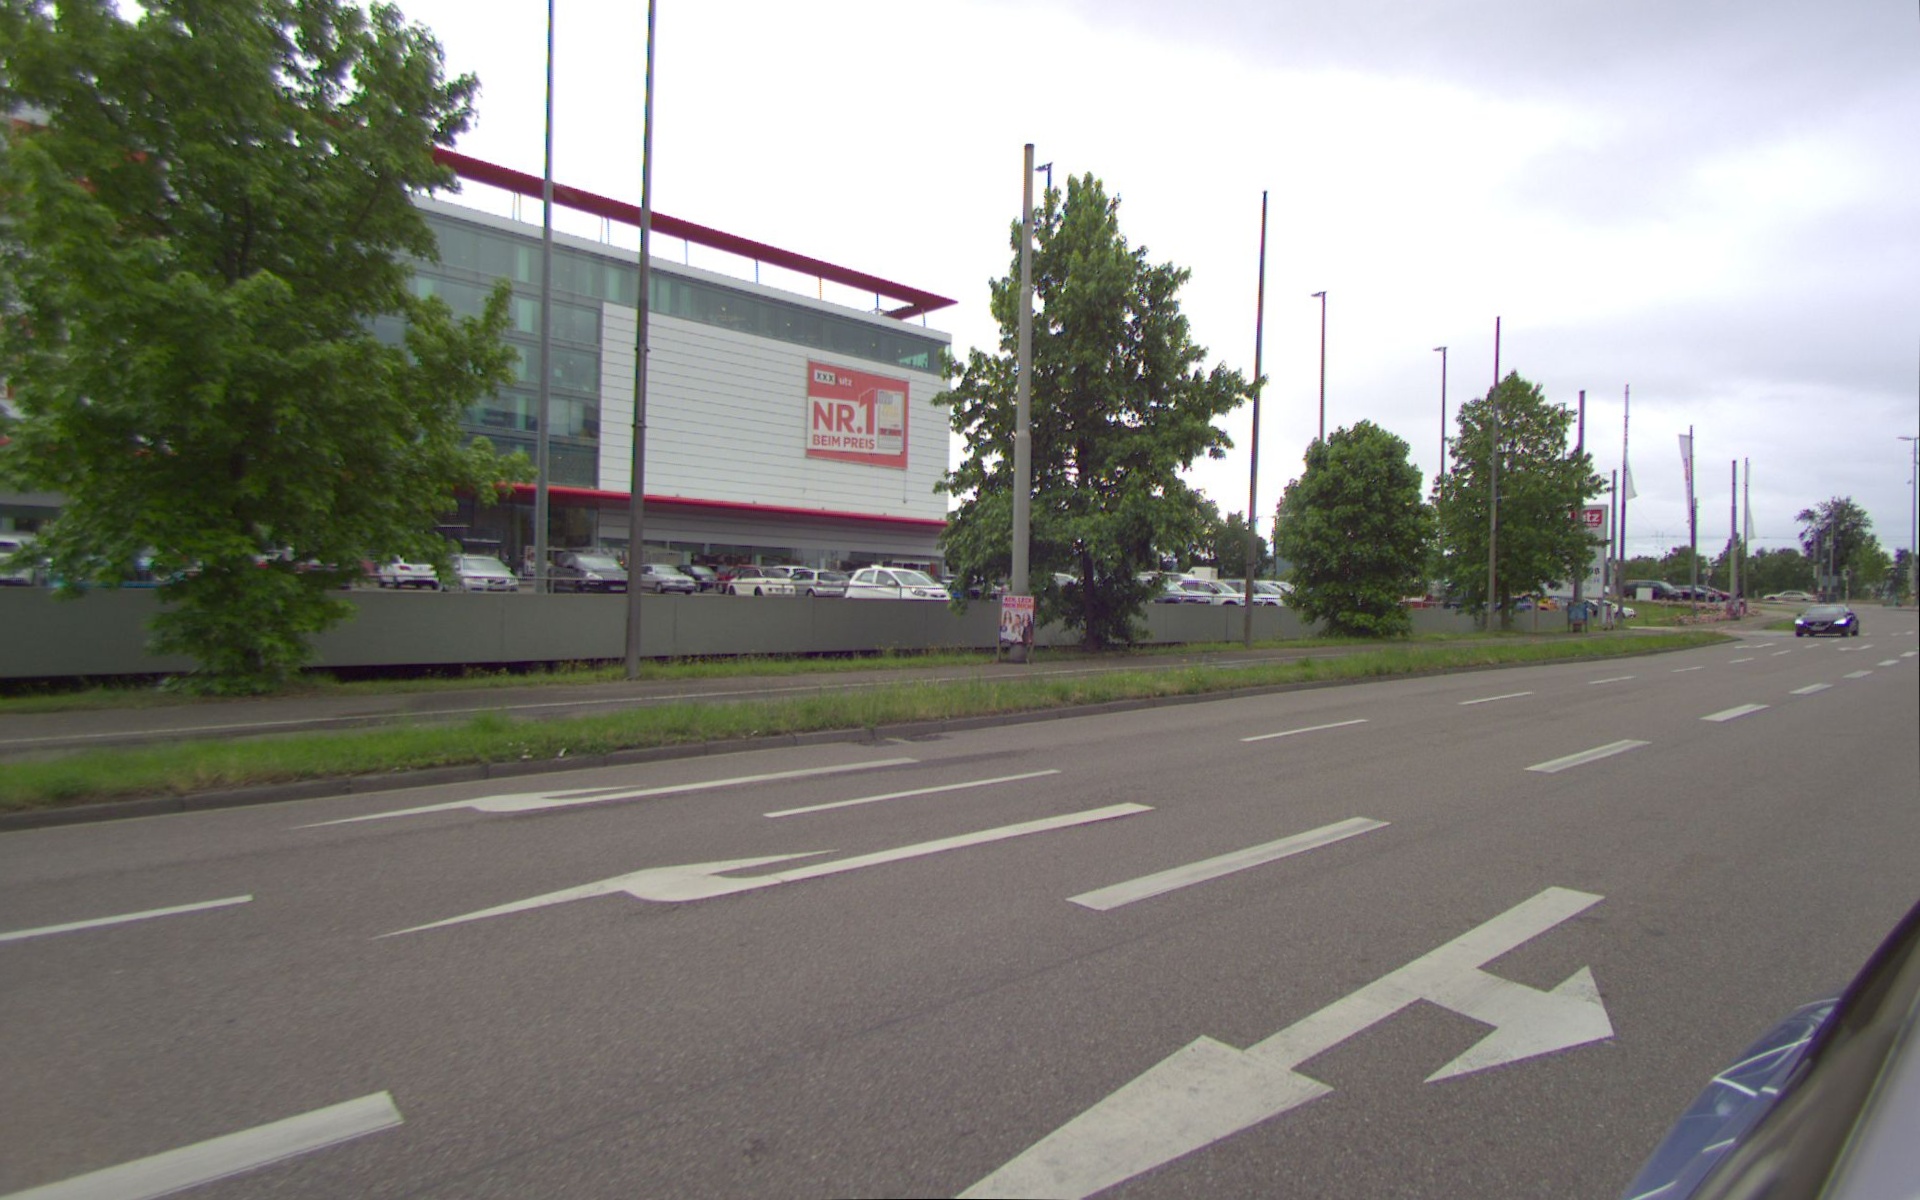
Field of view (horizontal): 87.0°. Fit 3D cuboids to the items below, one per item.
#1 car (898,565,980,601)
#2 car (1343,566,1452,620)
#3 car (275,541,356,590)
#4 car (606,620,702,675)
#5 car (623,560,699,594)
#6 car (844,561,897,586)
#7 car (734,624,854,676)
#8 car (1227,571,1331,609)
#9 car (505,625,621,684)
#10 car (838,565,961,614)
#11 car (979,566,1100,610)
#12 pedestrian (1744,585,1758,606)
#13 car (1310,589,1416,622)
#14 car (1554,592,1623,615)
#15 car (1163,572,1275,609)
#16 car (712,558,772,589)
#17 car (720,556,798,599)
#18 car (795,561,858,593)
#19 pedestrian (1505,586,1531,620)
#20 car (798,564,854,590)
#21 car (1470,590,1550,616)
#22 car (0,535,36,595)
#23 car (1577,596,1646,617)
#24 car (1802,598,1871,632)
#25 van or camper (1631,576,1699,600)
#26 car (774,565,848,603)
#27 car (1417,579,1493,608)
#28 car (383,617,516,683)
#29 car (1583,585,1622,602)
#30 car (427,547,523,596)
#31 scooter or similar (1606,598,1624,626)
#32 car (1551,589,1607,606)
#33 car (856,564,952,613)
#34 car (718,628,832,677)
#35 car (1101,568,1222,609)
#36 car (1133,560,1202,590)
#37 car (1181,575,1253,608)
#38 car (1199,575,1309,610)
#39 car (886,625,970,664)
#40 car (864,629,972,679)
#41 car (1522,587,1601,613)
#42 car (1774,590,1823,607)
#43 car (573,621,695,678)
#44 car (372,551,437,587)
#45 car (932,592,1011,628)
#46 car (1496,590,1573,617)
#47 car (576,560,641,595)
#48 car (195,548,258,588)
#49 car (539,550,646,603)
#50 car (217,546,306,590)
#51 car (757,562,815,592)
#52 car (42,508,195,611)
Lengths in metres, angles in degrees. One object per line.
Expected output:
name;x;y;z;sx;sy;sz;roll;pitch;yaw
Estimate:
car;-1.083;-0.864;49.955;1.803;1.643;3.990;0;2;-44
car;22.715;-0.366;52.677;2.132;2.612;4.731;3;-1;-40
car;-20.163;-1.044;31.612;1.670;1.373;3.640;3;-1;-39
car;-11.666;1.731;38.375;1.965;1.855;4.376;0;0;-40
car;-15.128;-1.156;51.127;1.835;1.606;4.287;3;-1;-45
car;-6.308;-1.845;71.117;1.799;1.574;3.797;3;-1;-42
car;-4.336;1.252;26.157;1.430;1.146;3.518;0;0;-42
car;13.969;-0.423;44.509;1.732;1.560;4.061;3;-1;-40
car;-10.905;1.427;27.643;1.733;1.367;4.061;0;0;-40
car;-1.805;-0.302;29.412;3.513;1.324;1.581;1;-1;43
car;2.670;-0.400;34.667;1.734;1.367;4.059;3;-1;-43
pedestrian;60.334;-0.358;77.230;0.711;1.616;0.775;0;3;31
car;19.531;0.258;49.138;1.926;1.480;4.382;3;-1;-40
car;46.353;0.236;74.670;4.093;1.603;1.741;1;-1;45
car;10.330;-0.391;40.544;1.734;1.367;4.059;3;-1;-43
car;-11.831;-1.411;54.721;1.710;1.574;3.803;3;-1;-37
car;-8.744;-0.973;43.909;1.703;1.724;3.743;3;-1;-40
car;-7.672;-1.285;57.772;1.860;1.772;3.997;0;0;-37
pedestrian;28.948;0.145;52.535;0.870;1.741;0.940;3;-2;-44
car;-8.697;-1.453;65.380;1.712;1.574;3.777;3;-1;-42
car;33.825;0.160;62.271;1.783;1.473;3.994;-1;1;-41
car;-26.123;-0.943;27.116;1.751;1.527;3.852;2;0;-39
car;50.088;0.491;77.838;1.844;1.464;4.111;3;-1;-43
car;39.167;0.633;45.204;4.272;1.408;1.995;0;0;-44
van or camper;65.549;-1.174;94.229;2.080;2.038;4.762;-2;3;-26
car;-6.699;-0.708;45.228;1.583;1.545;3.569;3;-1;-40
car;39.717;-0.557;81.301;2.083;2.192;5.050;0;2;-37
car;-10.415;0.957;20.548;1.578;1.146;3.518;0;0;-42
car;78.597;-0.801;123.872;3.973;2.039;1.924;0;0;35
car;-17.114;-0.978;35.612;1.816;1.538;4.233;3;-1;-43
scooter or similar;28.451;0.527;43.948;1.227;1.206;0.370;1;0;-43
car;61.603;-0.260;100.799;1.932;1.482;4.321;0;2;-37
car;-2.467;-0.491;44.089;1.966;2.039;4.181;1;-1;-42
car;-6.021;1.639;32.658;1.734;1.367;4.058;0;0;-43
car;7.428;-0.429;37.555;1.779;1.367;4.157;3;-1;-43
car;22.123;-2.678;108.234;2.721;3.028;6.936;3;-1;-43
car;14.775;-0.507;58.281;1.703;1.790;3.743;3;-1;-40
car;12.290;-0.317;42.482;1.803;1.367;4.059;3;-1;-43
car;-1.525;2.056;47.547;1.755;1.643;3.989;0;0;-44
car;-1.552;1.891;36.569;1.734;1.571;4.059;0;0;-42
car;40.895;-0.015;68.810;4.511;1.602;1.748;1;2;35
car;92.830;-0.203;112.035;4.059;1.756;1.753;1;-1;37
car;-7.797;1.131;24.051;1.490;1.146;3.518;0;0;-42
car;-23.600;-1.278;42.955;1.671;1.411;3.692;3;-1;-41
car;0.565;0.502;51.958;1.807;1.743;3.994;3;-2;-40
car;37.238;0.176;65.672;1.782;1.664;3.998;0;1;-37
car;-19.188;-1.211;55.181;1.784;1.804;3.985;3;-1;-44
car;-31.242;-1.346;43.075;1.672;1.551;3.636;3;-1;-43
car;-12.410;-0.794;34.054;1.964;1.612;4.376;3;0;-40
car;-27.625;-1.280;39.988;3.801;1.600;1.781;2;0;38
car;-9.711;-1.227;56.253;1.707;1.607;3.578;0;0;-37
car;-14.581;-0.631;17.450;1.781;1.544;4.072;2;-1;-43
